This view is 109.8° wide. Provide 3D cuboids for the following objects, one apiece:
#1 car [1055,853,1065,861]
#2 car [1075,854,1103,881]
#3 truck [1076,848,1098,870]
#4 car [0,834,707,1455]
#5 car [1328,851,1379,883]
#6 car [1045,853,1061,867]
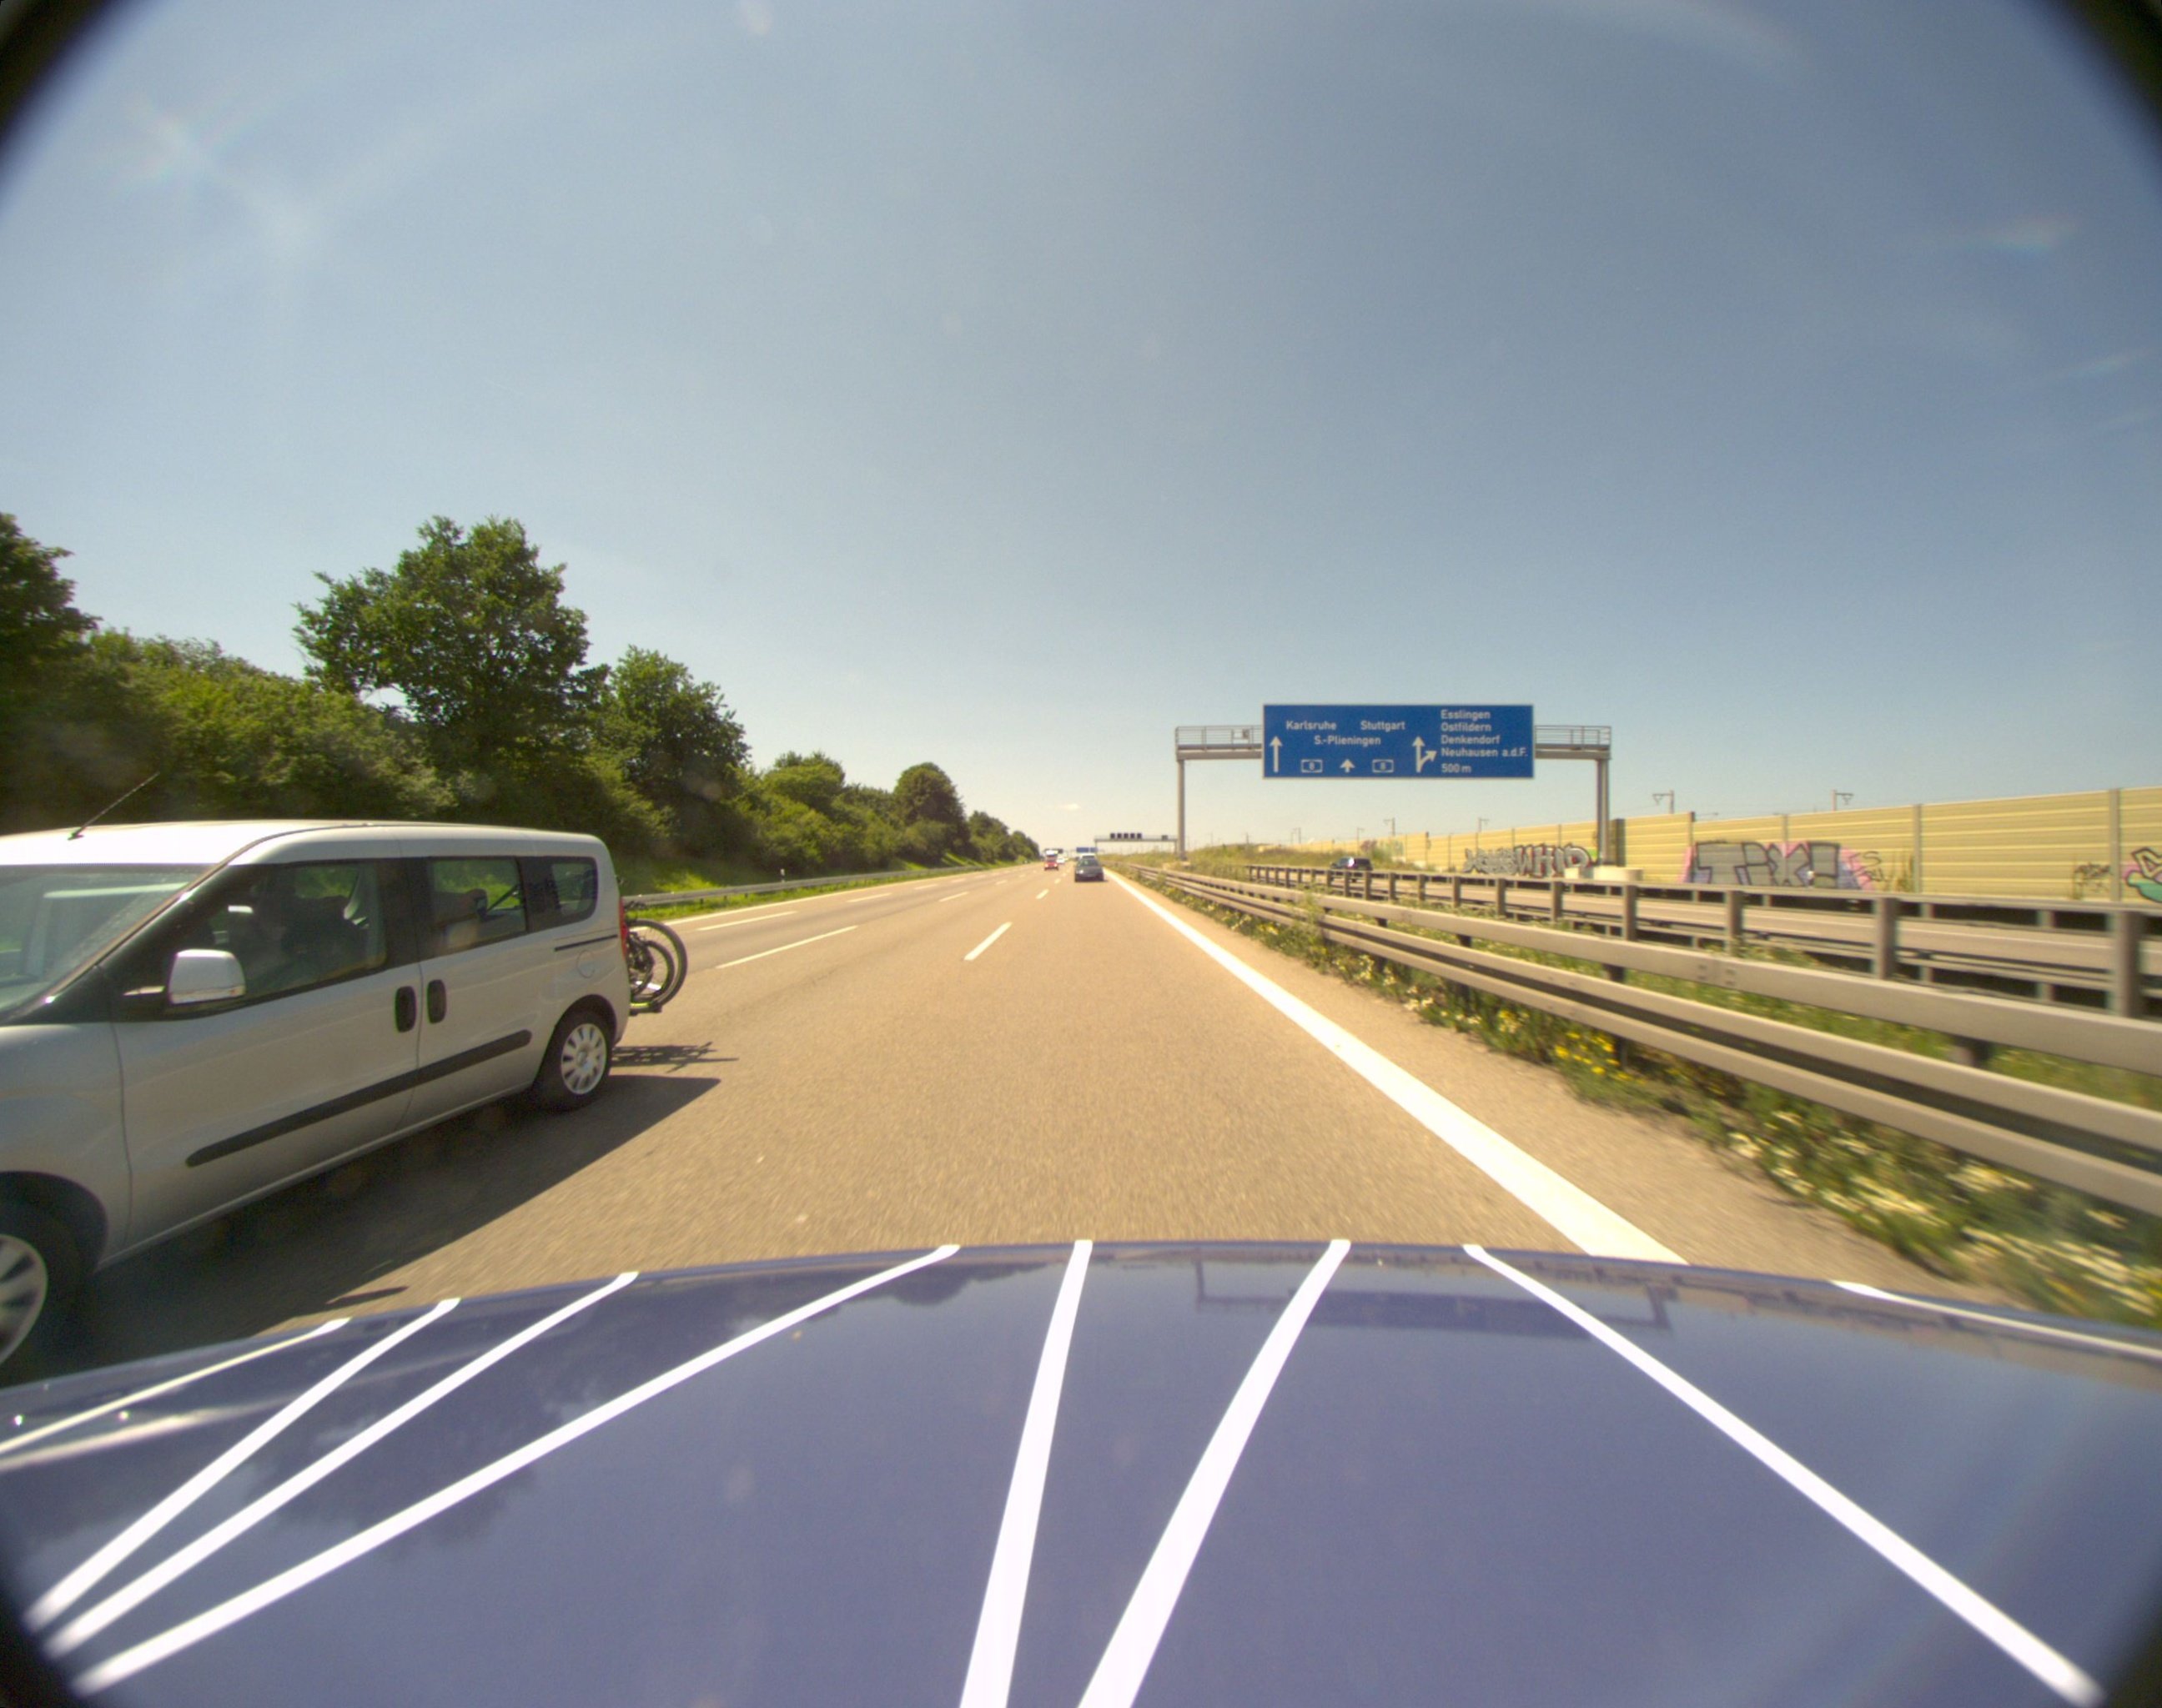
[{"bbox_3d":[-4.213,0.659,154.211,1.723,1.514,3.581,-2,1,1],"label":"car"},{"bbox_3d":[0.507,0.831,47.954,1.715,1.586,4.547,0,0,1],"label":"car"},{"bbox_3d":[0.736,0.515,86.721,2.333,2.378,6.686,-2,1,1],"label":"truck"},{"bbox_3d":[-4.099,0.877,3.707,1.812,1.836,5.312,-1,0,1],"label":"car"},{"bbox_3d":[17.789,0.795,49.795,1.998,2.002,4.000,0,0,0],"label":"car"},{"bbox_3d":[-3.409,0.739,93.743,1.723,1.514,3.581,-2,1,1],"label":"car"}]
